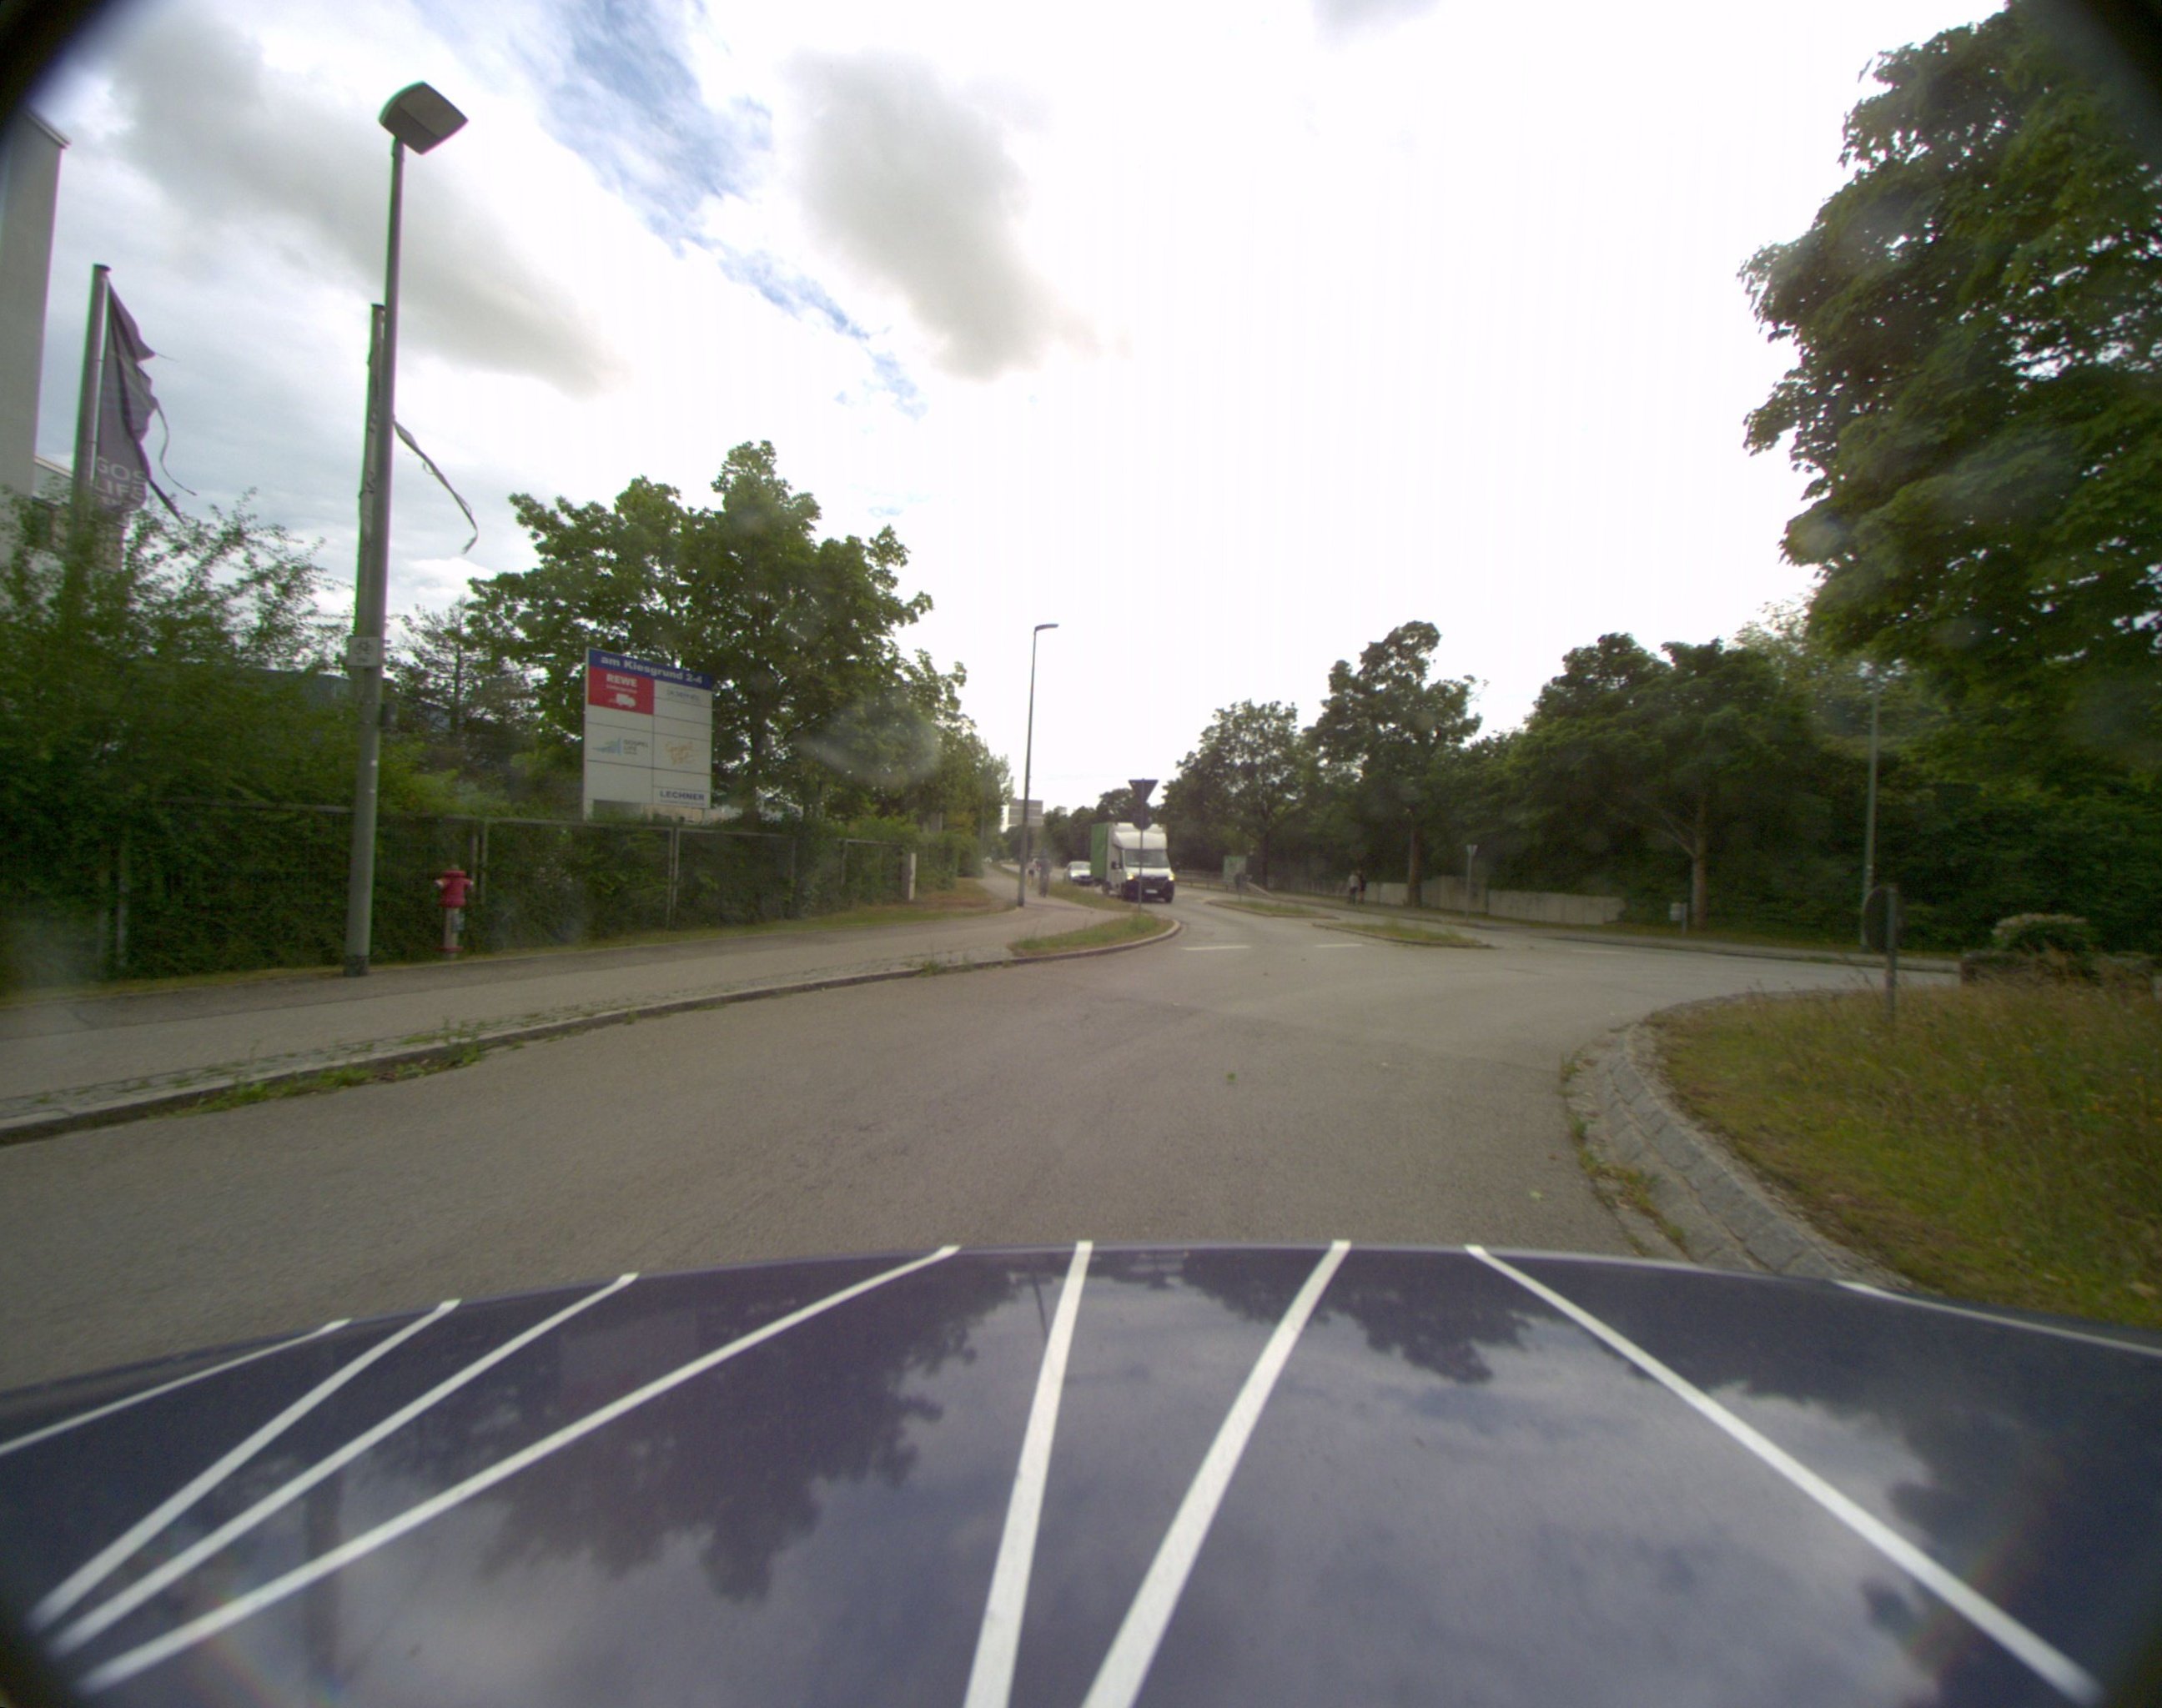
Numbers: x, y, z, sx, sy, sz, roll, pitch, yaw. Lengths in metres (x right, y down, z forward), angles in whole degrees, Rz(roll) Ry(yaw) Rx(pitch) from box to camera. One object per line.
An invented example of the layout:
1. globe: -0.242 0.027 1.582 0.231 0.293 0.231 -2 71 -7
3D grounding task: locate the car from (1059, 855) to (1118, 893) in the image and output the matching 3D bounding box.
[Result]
1. car: 0.348 1.188 47.162 2.617 2.113 5.718 2 0 -10

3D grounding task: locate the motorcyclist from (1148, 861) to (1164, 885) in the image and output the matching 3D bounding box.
1. motorcyclist: 5.491 1.382 55.746 0.845 1.691 0.822 3 0 -11

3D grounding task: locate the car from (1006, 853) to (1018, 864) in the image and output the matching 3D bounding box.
1. car: -14.002 0.851 153.615 2.038 2.113 5.718 2 0 -10

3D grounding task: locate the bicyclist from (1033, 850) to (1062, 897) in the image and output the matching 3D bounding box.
1. bicyclist: -1.346 0.768 30.156 0.813 1.777 0.977 5 -1 -15

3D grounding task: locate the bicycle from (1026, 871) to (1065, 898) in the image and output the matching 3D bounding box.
1. bicycle: -1.437 1.206 30.201 0.967 0.870 2.492 5 -1 -15

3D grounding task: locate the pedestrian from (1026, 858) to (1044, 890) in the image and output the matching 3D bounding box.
1. pedestrian: -2.256 0.950 37.127 0.546 1.521 0.842 3 -1 -26

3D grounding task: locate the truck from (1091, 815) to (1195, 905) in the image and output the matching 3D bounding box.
1. truck: 2.464 0.249 32.991 2.617 3.427 7.500 2 0 -10

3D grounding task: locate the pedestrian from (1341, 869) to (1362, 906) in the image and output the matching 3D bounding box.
1. pedestrian: 13.231 1.651 37.135 0.732 1.770 0.594 2 -1 -15

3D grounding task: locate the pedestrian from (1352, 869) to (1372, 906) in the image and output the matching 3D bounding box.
1. pedestrian: 13.944 1.677 37.701 0.636 1.798 0.614 2 -1 -15

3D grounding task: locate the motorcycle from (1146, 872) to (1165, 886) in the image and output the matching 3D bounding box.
1. motorcycle: 5.462 1.807 55.573 0.940 0.925 1.611 3 0 -11
